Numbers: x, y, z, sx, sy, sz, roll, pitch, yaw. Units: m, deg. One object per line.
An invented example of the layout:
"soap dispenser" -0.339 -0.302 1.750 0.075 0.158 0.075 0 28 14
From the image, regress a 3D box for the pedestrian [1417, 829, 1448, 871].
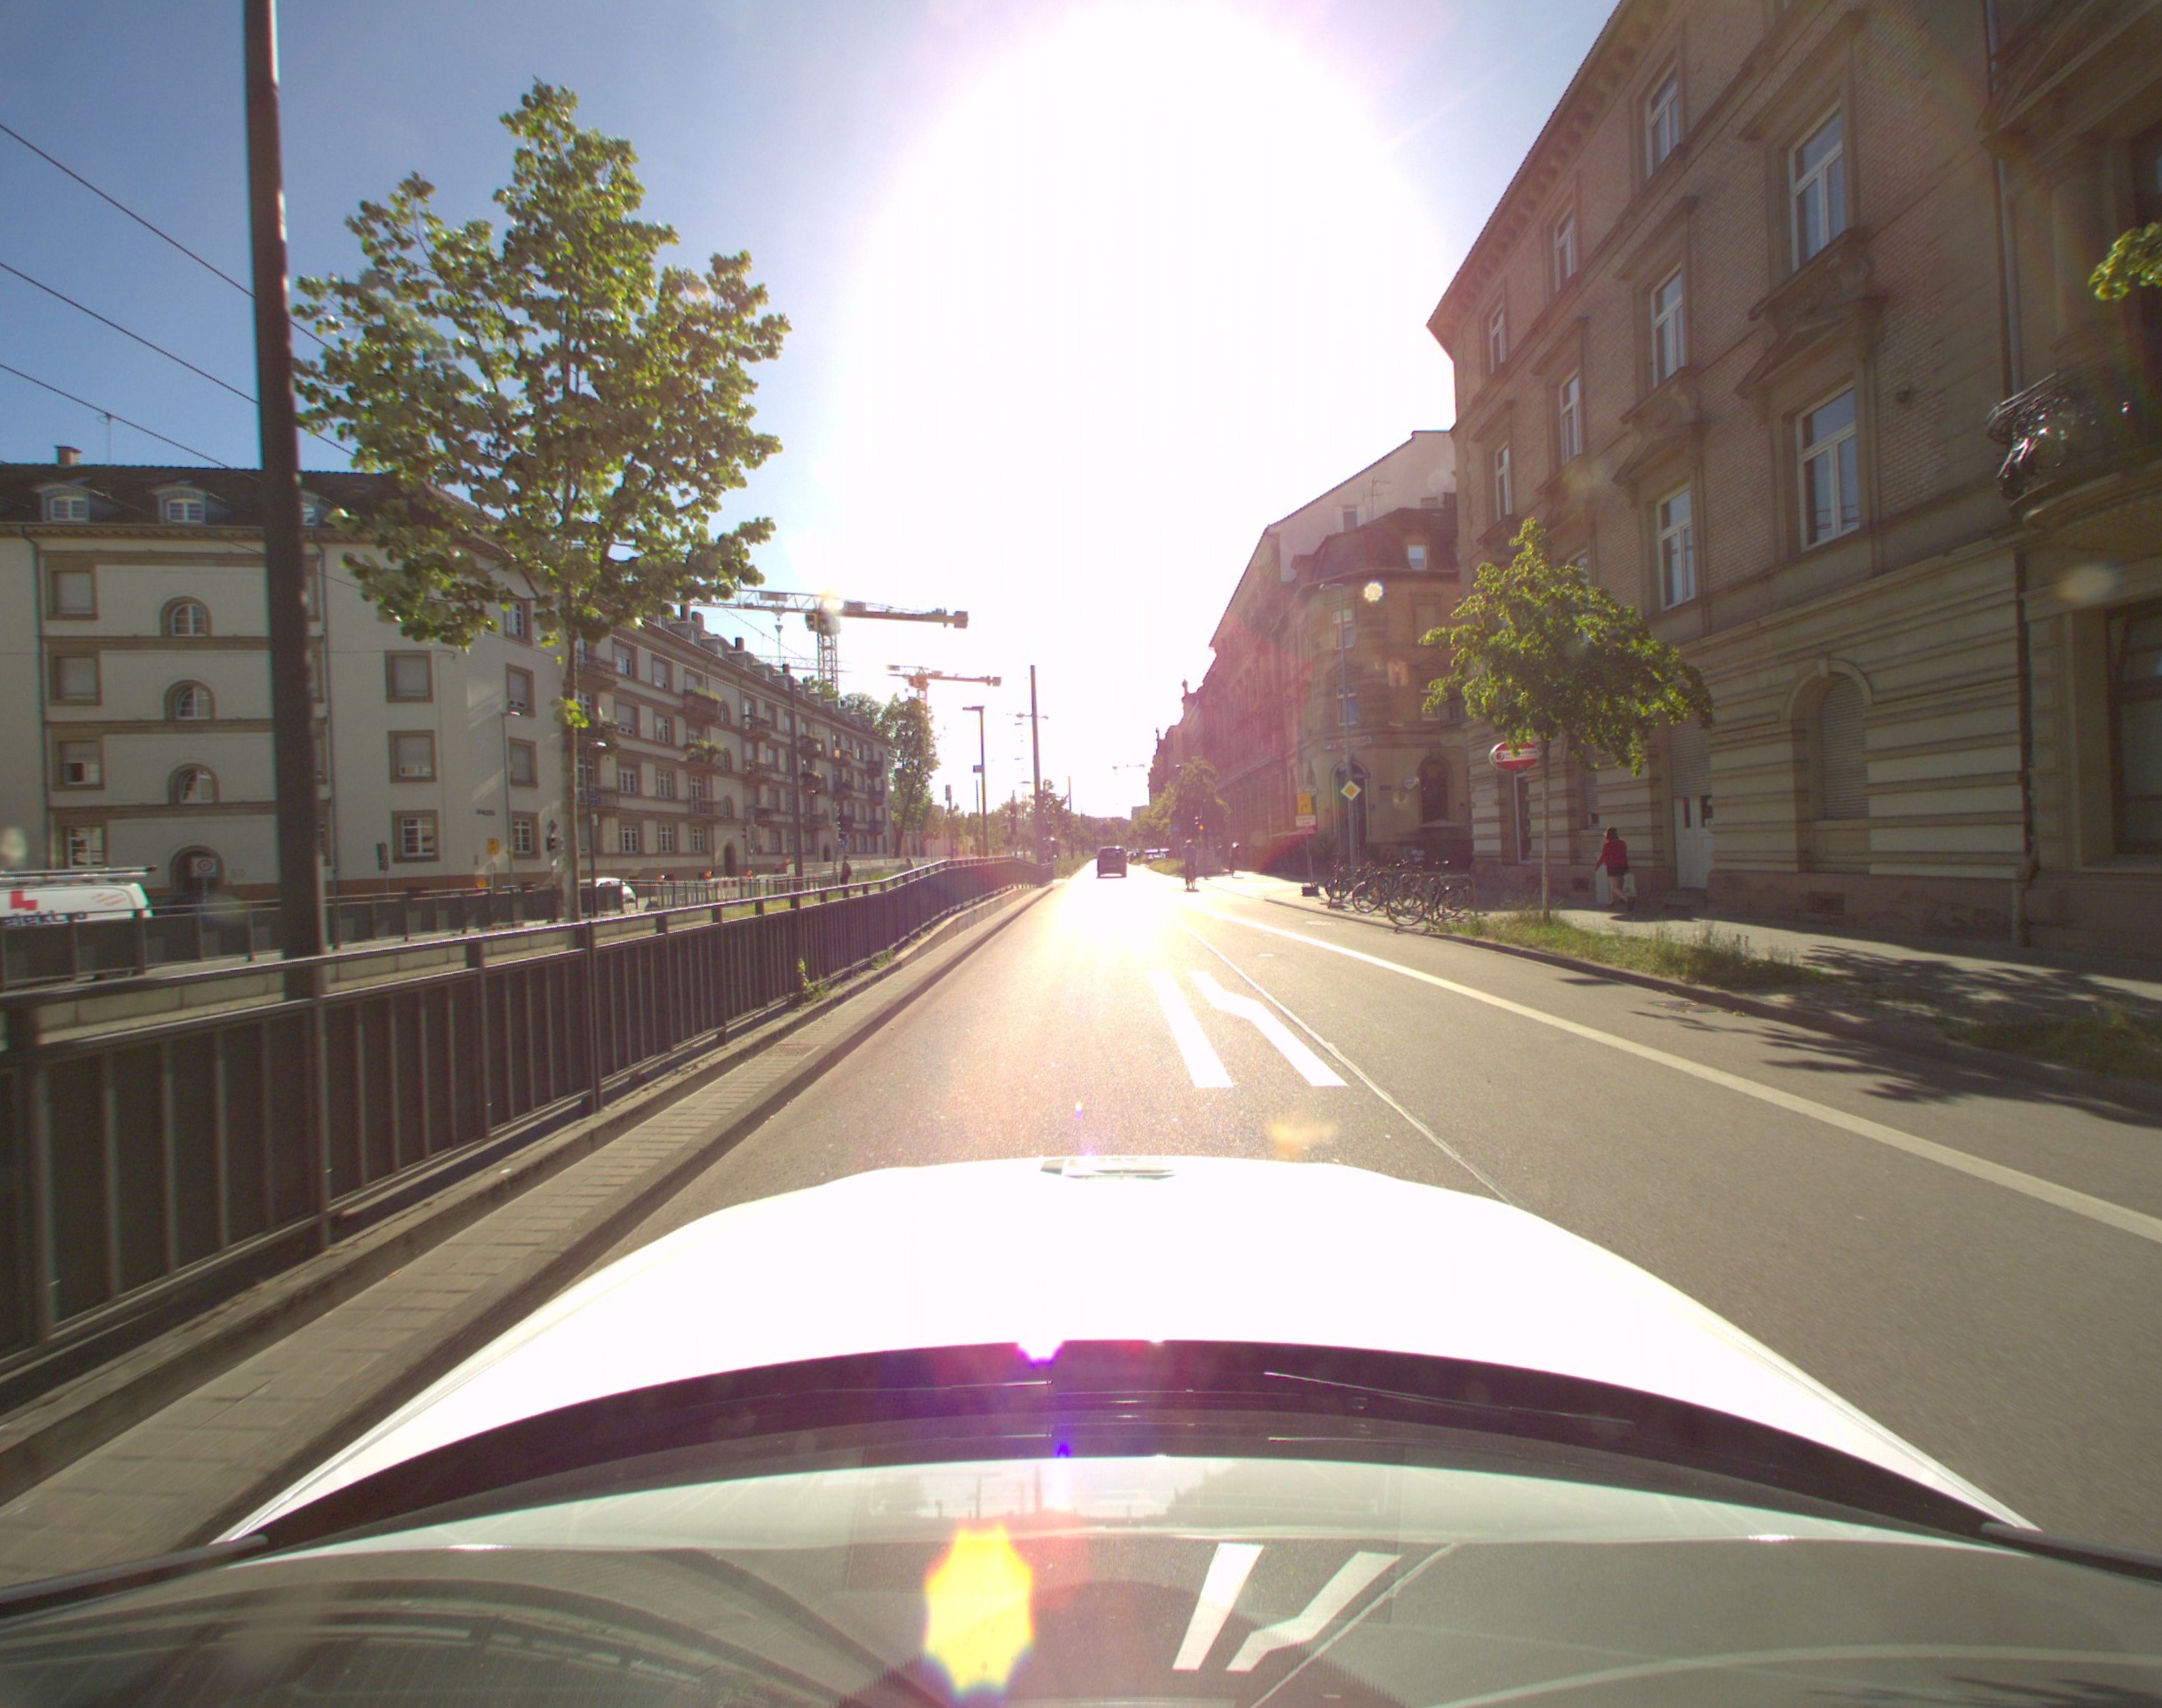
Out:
"pedestrian" 15.243 -0.163 35.357 0.905 1.760 0.866 -1 0 -6

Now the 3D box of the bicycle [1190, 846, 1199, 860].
"bicycle" 10.355 -0.117 74.474 0.581 1.222 1.900 -2 0 1

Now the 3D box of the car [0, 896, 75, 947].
"car" -35.311 2.226 26.127 1.685 1.521 3.656 -2 0 -8

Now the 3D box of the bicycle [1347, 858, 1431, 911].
"bicycle" 6.882 0.673 18.271 1.592 1.045 0.607 -5 0 4

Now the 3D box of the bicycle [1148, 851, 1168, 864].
"bicycle" 7.317 0.347 77.360 1.786 1.030 0.527 -7 0 0

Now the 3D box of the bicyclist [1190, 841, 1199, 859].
"bicyclist" 10.331 -0.371 74.378 0.664 1.639 0.961 -2 0 1

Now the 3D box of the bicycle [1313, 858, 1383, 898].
"bicycle" 7.187 0.645 21.968 1.661 0.944 0.608 -3 0 8

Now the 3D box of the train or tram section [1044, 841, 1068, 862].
"train or tram section" -3.574 -0.292 116.720 2.745 2.743 9.867 -1 -1 2

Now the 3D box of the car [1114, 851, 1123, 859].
"car" 9.294 0.284 201.300 1.986 1.838 4.001 -1 -1 1

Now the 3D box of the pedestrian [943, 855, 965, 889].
"pedestrian" -5.815 0.821 37.190 0.809 1.536 0.798 -1 0 3

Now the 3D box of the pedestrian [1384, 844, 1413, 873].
"pedestrian" 13.684 0.177 35.107 0.848 1.214 0.932 -1 0 -6

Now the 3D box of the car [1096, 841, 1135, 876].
"car" 2.033 0.266 49.666 2.192 1.926 4.655 -3 0 1

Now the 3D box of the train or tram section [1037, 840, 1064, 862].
"train or tram section" -3.965 -0.371 106.875 2.745 2.743 9.867 -1 -1 2

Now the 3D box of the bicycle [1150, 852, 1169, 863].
"bicycle" 7.653 0.365 79.010 1.786 1.030 0.527 -2 0 0

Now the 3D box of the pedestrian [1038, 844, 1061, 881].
"pedestrian" -1.661 0.444 42.906 1.074 1.908 0.652 -2 0 -6

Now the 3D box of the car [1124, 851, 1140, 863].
"car" 7.314 0.403 116.100 2.021 1.499 4.531 -3 0 1

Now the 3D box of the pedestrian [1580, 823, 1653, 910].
"pedestrian" 9.975 0.226 15.204 0.706 1.542 0.927 -2 0 1

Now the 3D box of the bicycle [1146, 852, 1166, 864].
"bicycle" 7.403 0.371 80.454 1.786 1.030 0.527 -7 0 0

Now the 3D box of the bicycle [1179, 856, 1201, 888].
"bicycle" 4.125 0.655 30.876 0.599 1.181 1.869 0 0 1

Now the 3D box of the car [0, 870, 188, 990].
"car" -17.404 1.197 12.970 1.814 1.794 4.089 -1 -1 1

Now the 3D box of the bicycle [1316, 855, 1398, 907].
"bicycle" 6.696 0.641 19.829 1.715 1.100 0.607 -5 0 4

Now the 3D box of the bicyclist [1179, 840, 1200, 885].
"bicyclist" 4.137 0.318 31.061 0.682 1.673 0.922 0 0 0

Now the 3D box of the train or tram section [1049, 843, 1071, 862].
"train or tram section" -3.205 -0.213 126.585 2.745 2.743 9.867 -1 -1 2

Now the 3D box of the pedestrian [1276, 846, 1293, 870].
"pedestrian" 10.822 0.193 43.322 0.703 1.236 0.635 -4 0 1

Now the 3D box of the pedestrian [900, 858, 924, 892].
"pedestrian" -7.813 0.962 37.638 0.862 1.536 0.909 -1 0 1

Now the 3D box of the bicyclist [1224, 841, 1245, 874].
"bicyclist" 7.525 0.174 39.907 0.659 1.530 0.800 -6 0 -2

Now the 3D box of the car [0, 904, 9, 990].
"car" -23.116 1.962 14.828 1.809 1.759 4.000 -2 0 0

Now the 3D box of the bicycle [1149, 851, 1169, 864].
"bicycle" 7.289 0.336 75.986 1.786 1.030 0.527 -7 0 0

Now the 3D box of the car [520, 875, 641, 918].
"car" -17.080 1.400 28.041 1.689 1.286 3.961 -1 -1 1

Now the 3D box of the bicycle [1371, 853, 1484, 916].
"bicycle" 7.185 0.625 16.956 1.987 1.128 0.710 -5 0 2

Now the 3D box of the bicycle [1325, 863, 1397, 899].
"bicycle" 7.311 0.705 21.301 1.661 0.821 0.608 -3 0 7

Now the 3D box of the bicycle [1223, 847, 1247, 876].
"bicycle" 7.544 0.380 39.930 0.614 1.330 1.898 -6 0 -2

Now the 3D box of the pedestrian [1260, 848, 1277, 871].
"pedestrian" 9.953 0.293 43.325 0.703 1.178 0.635 -4 0 1

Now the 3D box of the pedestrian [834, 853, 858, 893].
"pedestrian" -10.648 0.858 36.854 0.870 1.780 0.901 -1 0 -27

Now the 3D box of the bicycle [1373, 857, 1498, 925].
"bicycle" 6.758 0.678 15.588 1.994 1.092 0.845 -5 0 -9

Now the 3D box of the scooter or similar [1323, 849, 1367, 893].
"scooter or similar" 7.563 0.489 23.373 1.105 1.189 0.420 -3 0 8

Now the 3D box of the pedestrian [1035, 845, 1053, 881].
"pedestrian" -1.869 0.439 40.870 0.863 1.788 0.969 -1 0 -5

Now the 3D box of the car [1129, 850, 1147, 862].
"car" 7.225 0.243 103.815 2.021 1.499 4.655 -3 0 1

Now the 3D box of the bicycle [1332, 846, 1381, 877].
"bicycle" 11.548 0.328 34.137 1.809 1.171 0.655 -3 3 5
